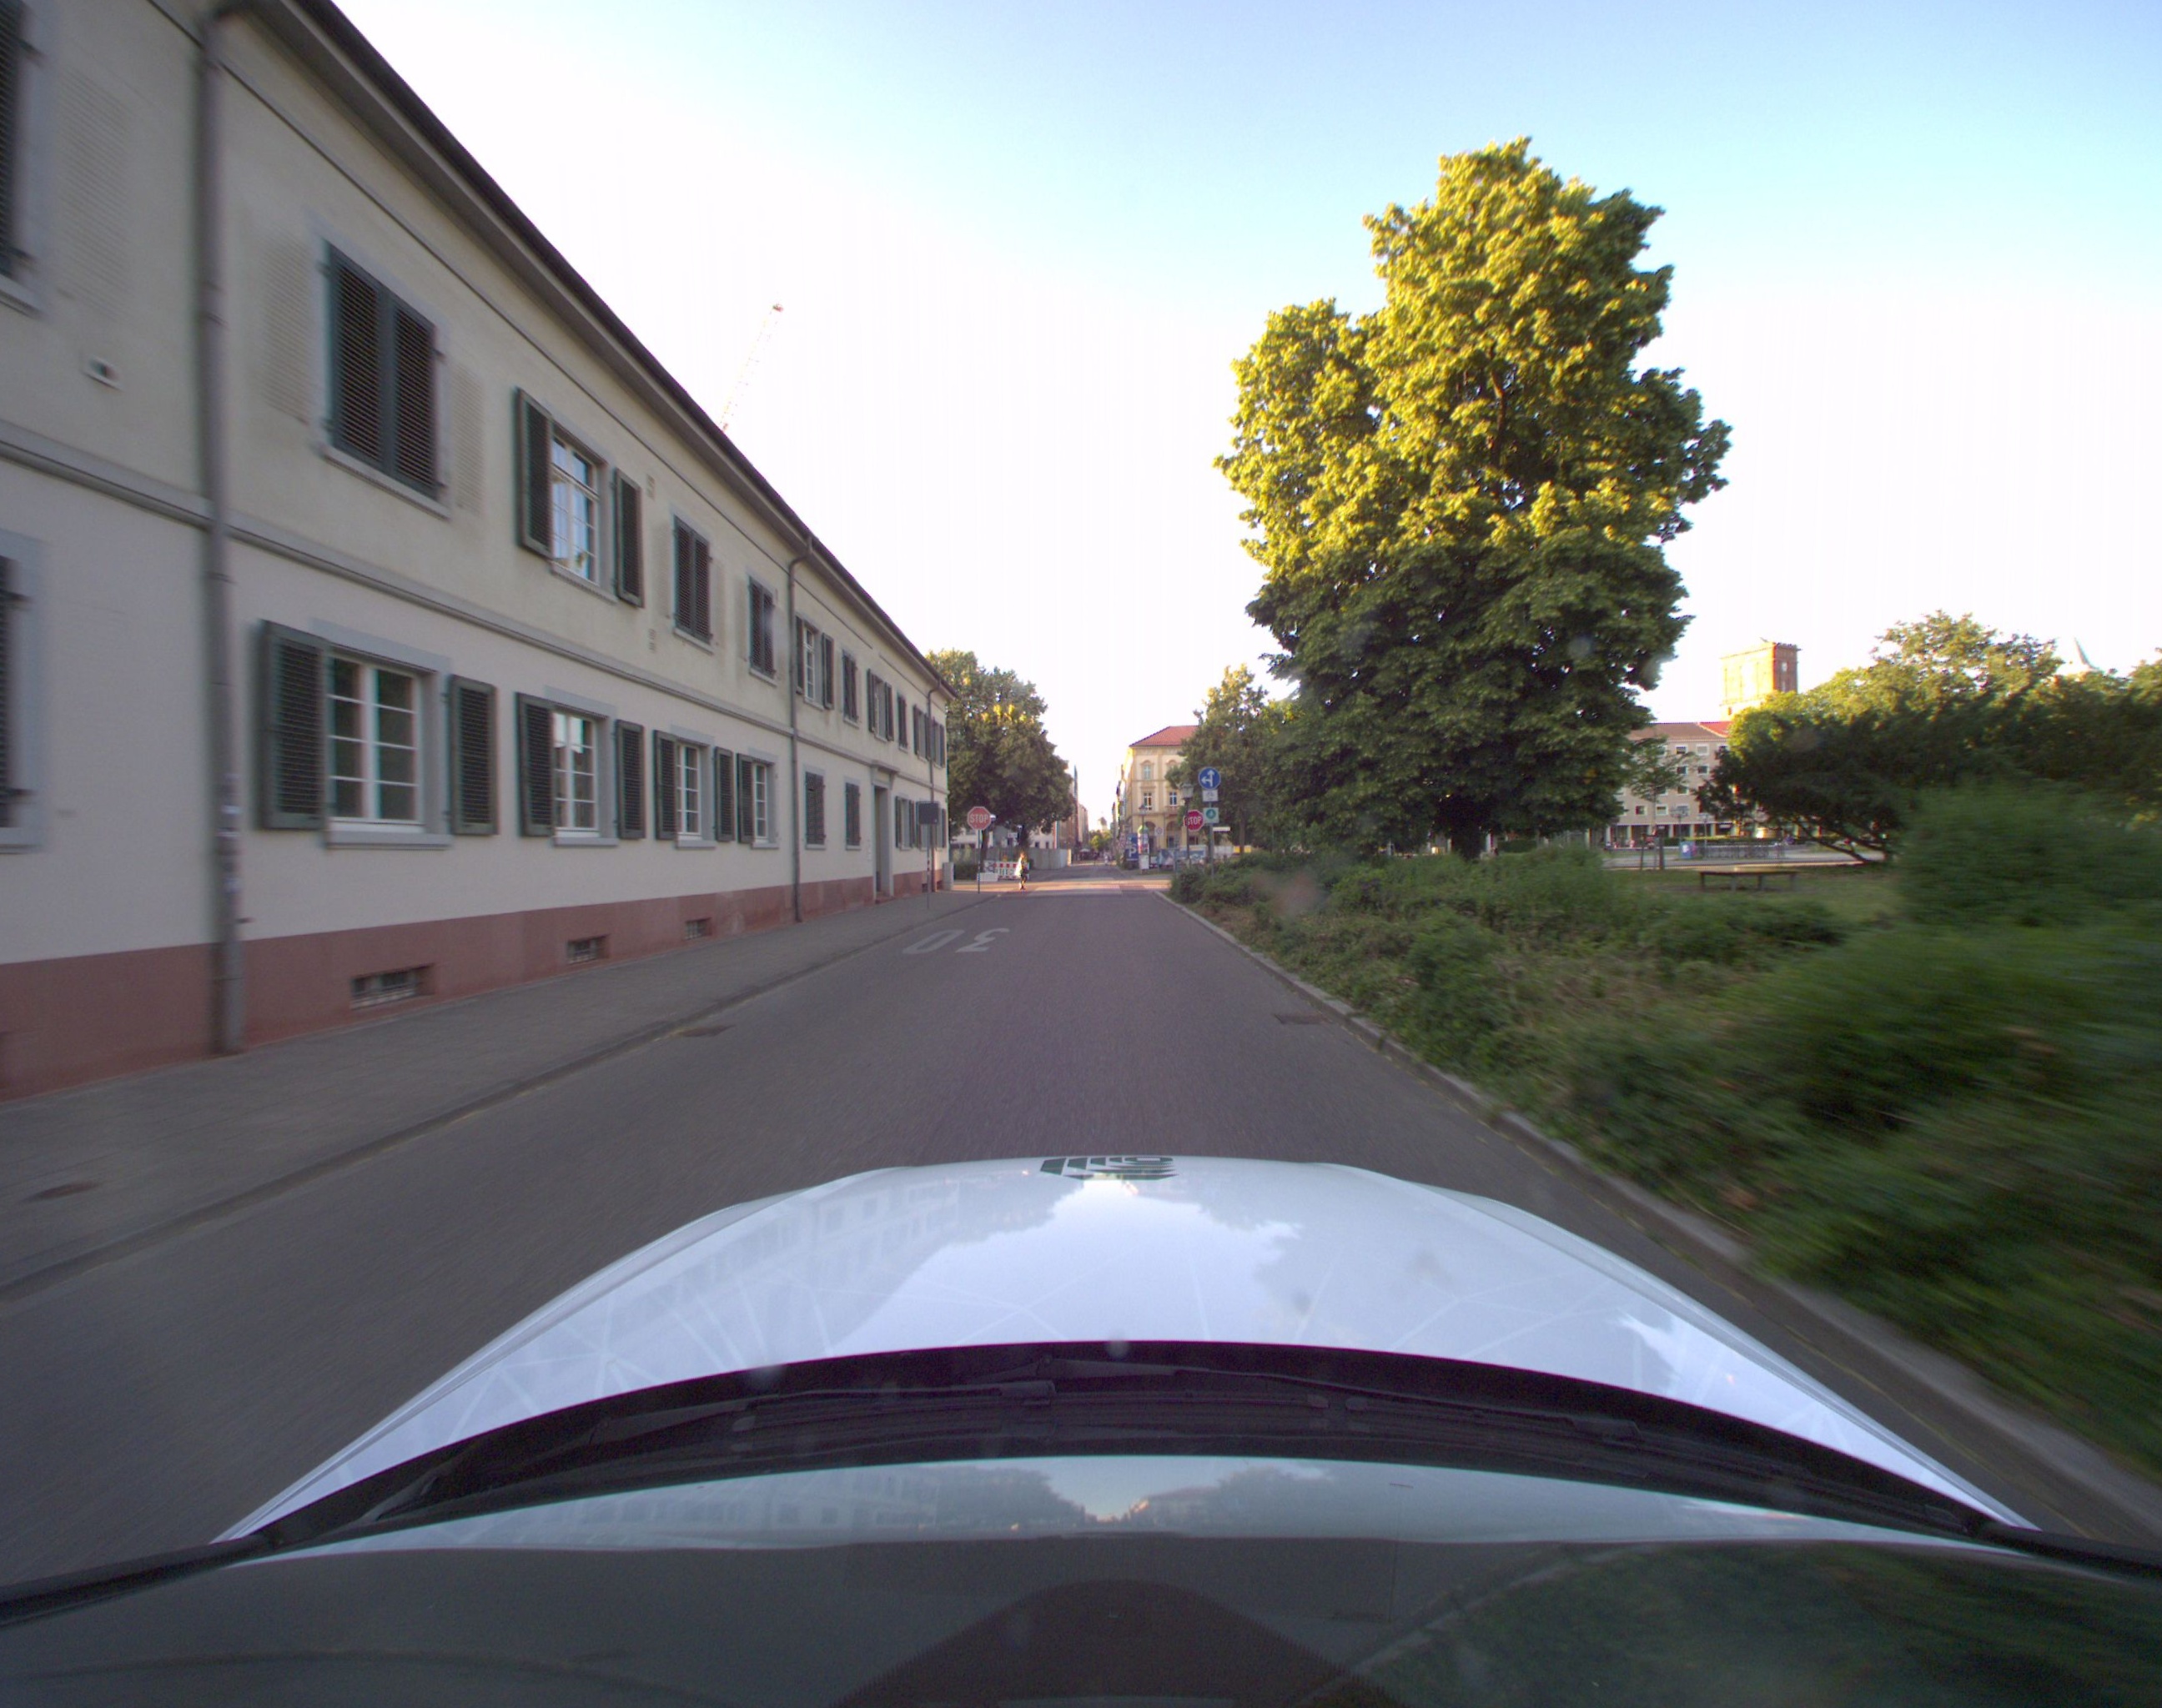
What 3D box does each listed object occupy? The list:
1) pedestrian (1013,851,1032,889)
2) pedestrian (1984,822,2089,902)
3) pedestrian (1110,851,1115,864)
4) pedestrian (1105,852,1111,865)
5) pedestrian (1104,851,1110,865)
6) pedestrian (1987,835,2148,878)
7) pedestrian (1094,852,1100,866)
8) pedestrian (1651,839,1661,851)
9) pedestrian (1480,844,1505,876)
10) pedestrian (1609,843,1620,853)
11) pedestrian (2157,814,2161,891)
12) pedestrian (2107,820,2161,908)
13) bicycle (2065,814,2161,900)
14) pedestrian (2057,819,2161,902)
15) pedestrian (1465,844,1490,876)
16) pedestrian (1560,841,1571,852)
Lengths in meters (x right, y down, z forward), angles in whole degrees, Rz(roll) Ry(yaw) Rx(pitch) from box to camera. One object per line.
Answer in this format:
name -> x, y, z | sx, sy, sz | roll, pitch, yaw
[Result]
pedestrian -> -2.644, 0.707, 36.571 | 0.731, 1.689, 0.836 | -2, 0, 1
pedestrian -> 14.807, 0.120, 12.645 | 0.719, 1.191, 0.748 | -2, 0, 4
pedestrian -> 3.783, 0.419, 97.824 | 0.655, 1.617, 0.745 | -2, 0, 2
pedestrian -> 3.333, 0.536, 99.021 | 0.655, 1.635, 0.745 | -2, 0, 2
pedestrian -> 3.077, 0.481, 97.855 | 0.655, 1.617, 0.745 | -2, 0, 2
pedestrian -> 14.320, 0.048, 11.867 | 0.541, 0.549, 1.369 | -5, 0, -18
pedestrian -> 1.912, 0.587, 99.277 | 0.655, 1.760, 0.745 | -2, 0, 2
pedestrian -> 53.221, -0.861, 75.340 | 0.514, 1.077, 0.614 | -2, 0, -38
pedestrian -> 17.704, 0.244, 35.065 | 0.595, 1.342, 0.817 | -2, 0, -4
pedestrian -> 51.562, -0.614, 78.704 | 0.512, 0.924, 0.616 | -2, 0, -24
pedestrian -> 19.394, -0.046, 13.933 | 0.918, 1.347, 0.880 | -2, 0, -14
pedestrian -> 14.973, 0.122, 11.278 | 0.656, 1.191, 0.800 | -2, 0, 29
bicycle -> 16.731, 0.033, 12.547 | 0.618, 1.300, 2.017 | -2, 0, -3
pedestrian -> 15.551, 0.087, 12.222 | 0.803, 1.191, 0.790 | -2, 0, 4
pedestrian -> 17.048, 0.243, 35.033 | 0.595, 1.342, 0.817 | -2, 0, -4
pedestrian -> 51.300, -0.801, 86.229 | 0.889, 1.077, 0.624 | -2, 0, 18
